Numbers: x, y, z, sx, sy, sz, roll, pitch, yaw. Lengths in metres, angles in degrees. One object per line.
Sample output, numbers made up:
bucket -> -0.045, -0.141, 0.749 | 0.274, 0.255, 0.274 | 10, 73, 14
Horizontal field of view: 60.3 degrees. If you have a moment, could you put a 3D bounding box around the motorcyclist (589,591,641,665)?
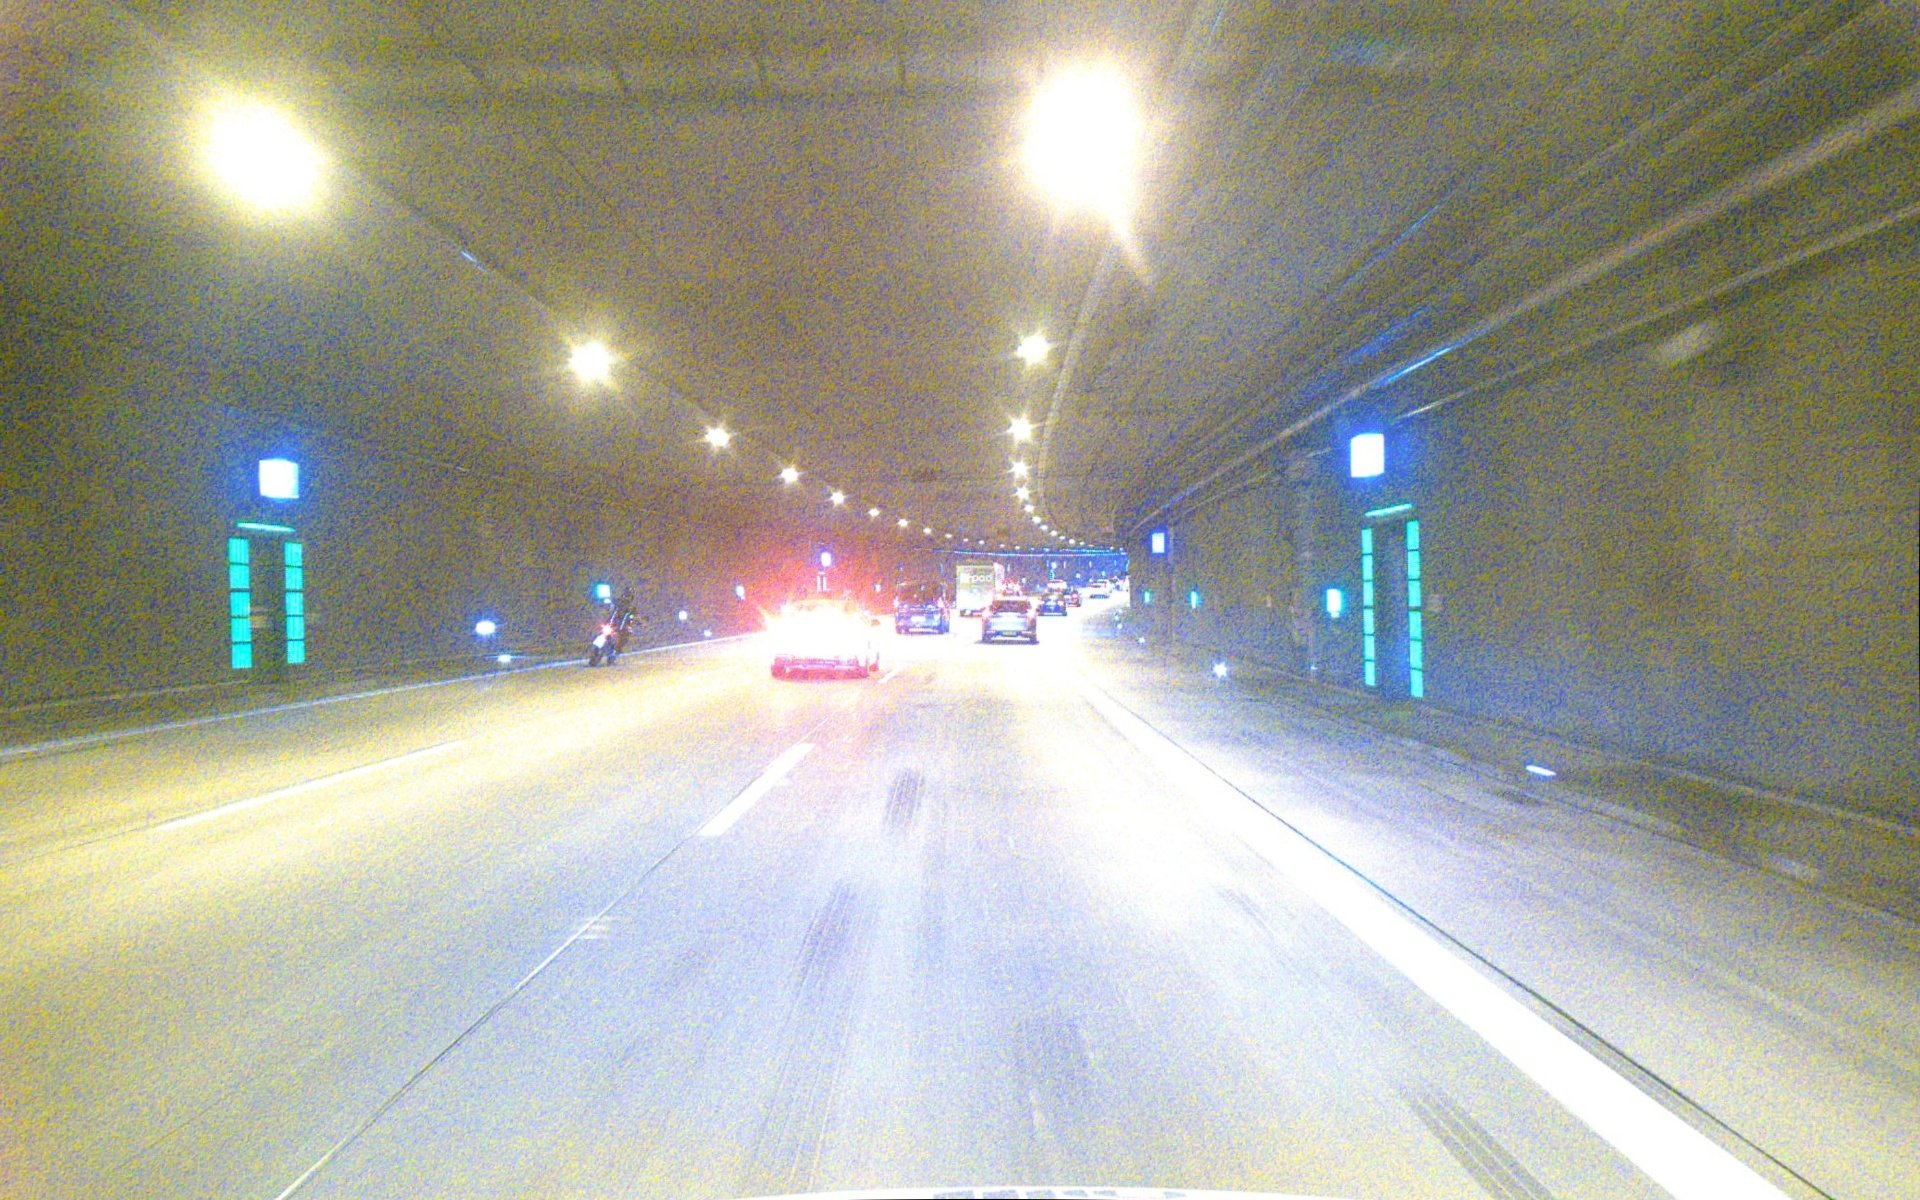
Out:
motorcyclist -> -6.956, 0.556, 33.405 | 0.761, 1.478, 1.069 | 0, -1, 3

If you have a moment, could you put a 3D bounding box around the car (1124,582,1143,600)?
car -> 21.082, -1.091, 201.120 | 1.951, 2.049, 4.003 | 0, 0, 11

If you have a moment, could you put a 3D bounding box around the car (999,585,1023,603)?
car -> 4.666, -0.539, 150.850 | 1.889, 1.671, 4.003 | 1, 0, 6

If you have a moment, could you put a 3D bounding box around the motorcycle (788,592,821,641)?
motorcycle -> -4.844, 0.507, 51.660 | 0.908, 1.459, 2.961 | 1, 0, -4

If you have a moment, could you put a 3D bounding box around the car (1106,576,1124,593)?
car -> 19.298, -1.949, 205.750 | 1.951, 2.049, 4.003 | 0, 0, 9

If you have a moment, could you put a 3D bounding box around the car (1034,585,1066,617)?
car -> 5.613, 0.060, 102.684 | 1.818, 1.887, 4.003 | 1, 0, 5

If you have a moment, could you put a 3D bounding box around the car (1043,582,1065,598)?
car -> 10.495, -1.108, 184.790 | 1.889, 1.671, 4.003 | 0, 0, 11

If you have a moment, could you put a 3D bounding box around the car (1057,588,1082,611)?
car -> 8.683, -0.013, 130.760 | 1.909, 1.803, 4.002 | 0, 0, 5

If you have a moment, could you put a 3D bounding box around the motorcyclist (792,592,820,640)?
motorcyclist -> -4.795, 0.502, 51.503 | 0.790, 1.473, 1.864 | 0, -1, -3

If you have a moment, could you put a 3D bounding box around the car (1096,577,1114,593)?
car -> 16.723, -1.722, 190.798 | 1.951, 1.660, 4.003 | 0, 0, 7

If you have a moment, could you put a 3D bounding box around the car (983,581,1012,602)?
car -> 2.929, -0.668, 128.796 | 1.951, 1.660, 4.003 | 0, 0, 5

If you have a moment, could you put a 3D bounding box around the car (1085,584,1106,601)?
car -> 13.785, -0.754, 167.698 | 1.889, 1.671, 4.003 | 0, 0, 8

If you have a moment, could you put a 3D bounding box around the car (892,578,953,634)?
car -> -1.396, 0.190, 63.210 | 1.869, 1.978, 3.874 | 0, 2, 5

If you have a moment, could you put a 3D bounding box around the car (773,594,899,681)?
car -> -2.281, 0.643, 31.681 | 1.666, 1.443, 5.063 | 0, 1, 4

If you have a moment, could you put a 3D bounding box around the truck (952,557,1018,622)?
truck -> 1.555, -0.631, 99.476 | 2.974, 3.737, 7.399 | 1, 0, 9

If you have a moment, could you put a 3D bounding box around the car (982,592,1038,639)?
car -> 1.660, 0.534, 53.928 | 1.706, 1.490, 3.872 | 0, -1, 3

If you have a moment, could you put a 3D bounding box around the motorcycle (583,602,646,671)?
motorcycle -> -6.961, 0.713, 33.422 | 0.668, 1.319, 2.399 | 0, 0, 3

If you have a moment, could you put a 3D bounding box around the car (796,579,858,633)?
car -> -5.249, 0.216, 65.693 | 1.952, 2.049, 4.001 | 1, 0, 2
